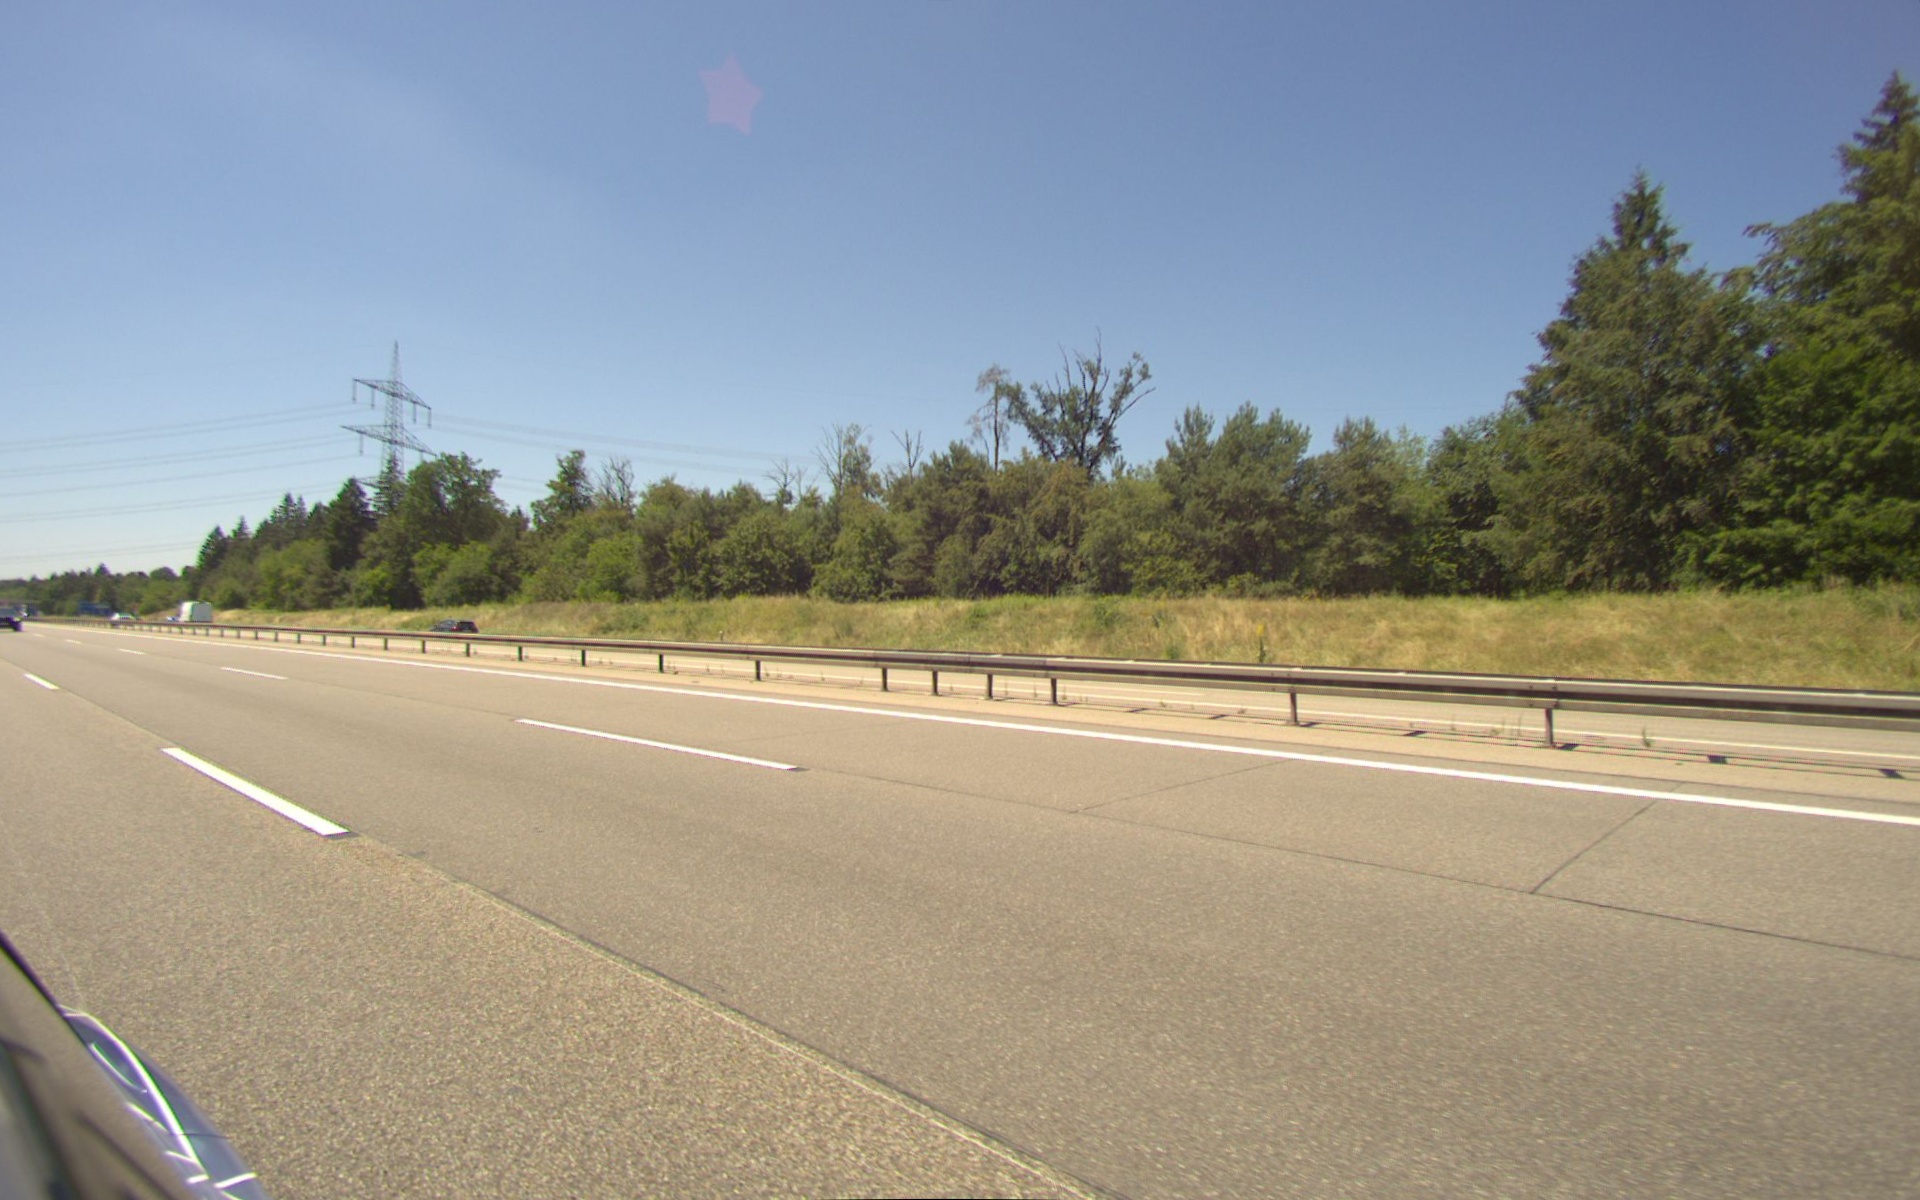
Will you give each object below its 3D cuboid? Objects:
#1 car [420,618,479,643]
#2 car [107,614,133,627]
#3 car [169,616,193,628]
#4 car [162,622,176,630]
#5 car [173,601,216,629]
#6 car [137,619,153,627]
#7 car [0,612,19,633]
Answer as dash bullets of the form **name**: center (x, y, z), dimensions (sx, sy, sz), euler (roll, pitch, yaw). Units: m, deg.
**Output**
- **car**: center (-33.401, 1.968, 66.190), dimensions (4.741, 1.521, 1.807), euler (-1, -2, 41)
- **car**: center (-98.007, 2.354, 118.070), dimensions (4.676, 1.402, 1.672), euler (-1, -4, 43)
- **car**: center (-100.403, 2.816, 130.400), dimensions (4.676, 1.402, 1.672), euler (-1, -4, 43)
- **car**: center (-156.032, 5.131, 199.639), dimensions (4.001, 1.539, 1.541), euler (0, 0, 44)
- **car**: center (-79.748, 1.577, 105.365), dimensions (6.873, 2.732, 2.317), euler (-1, -4, 43)
- **car**: center (-144.674, 4.039, 179.611), dimensions (4.437, 1.431, 1.769), euler (-1, 0, 44)
- **car**: center (-67.766, 1.583, 71.416), dimensions (1.872, 1.436, 4.264), euler (0, 0, -45)
